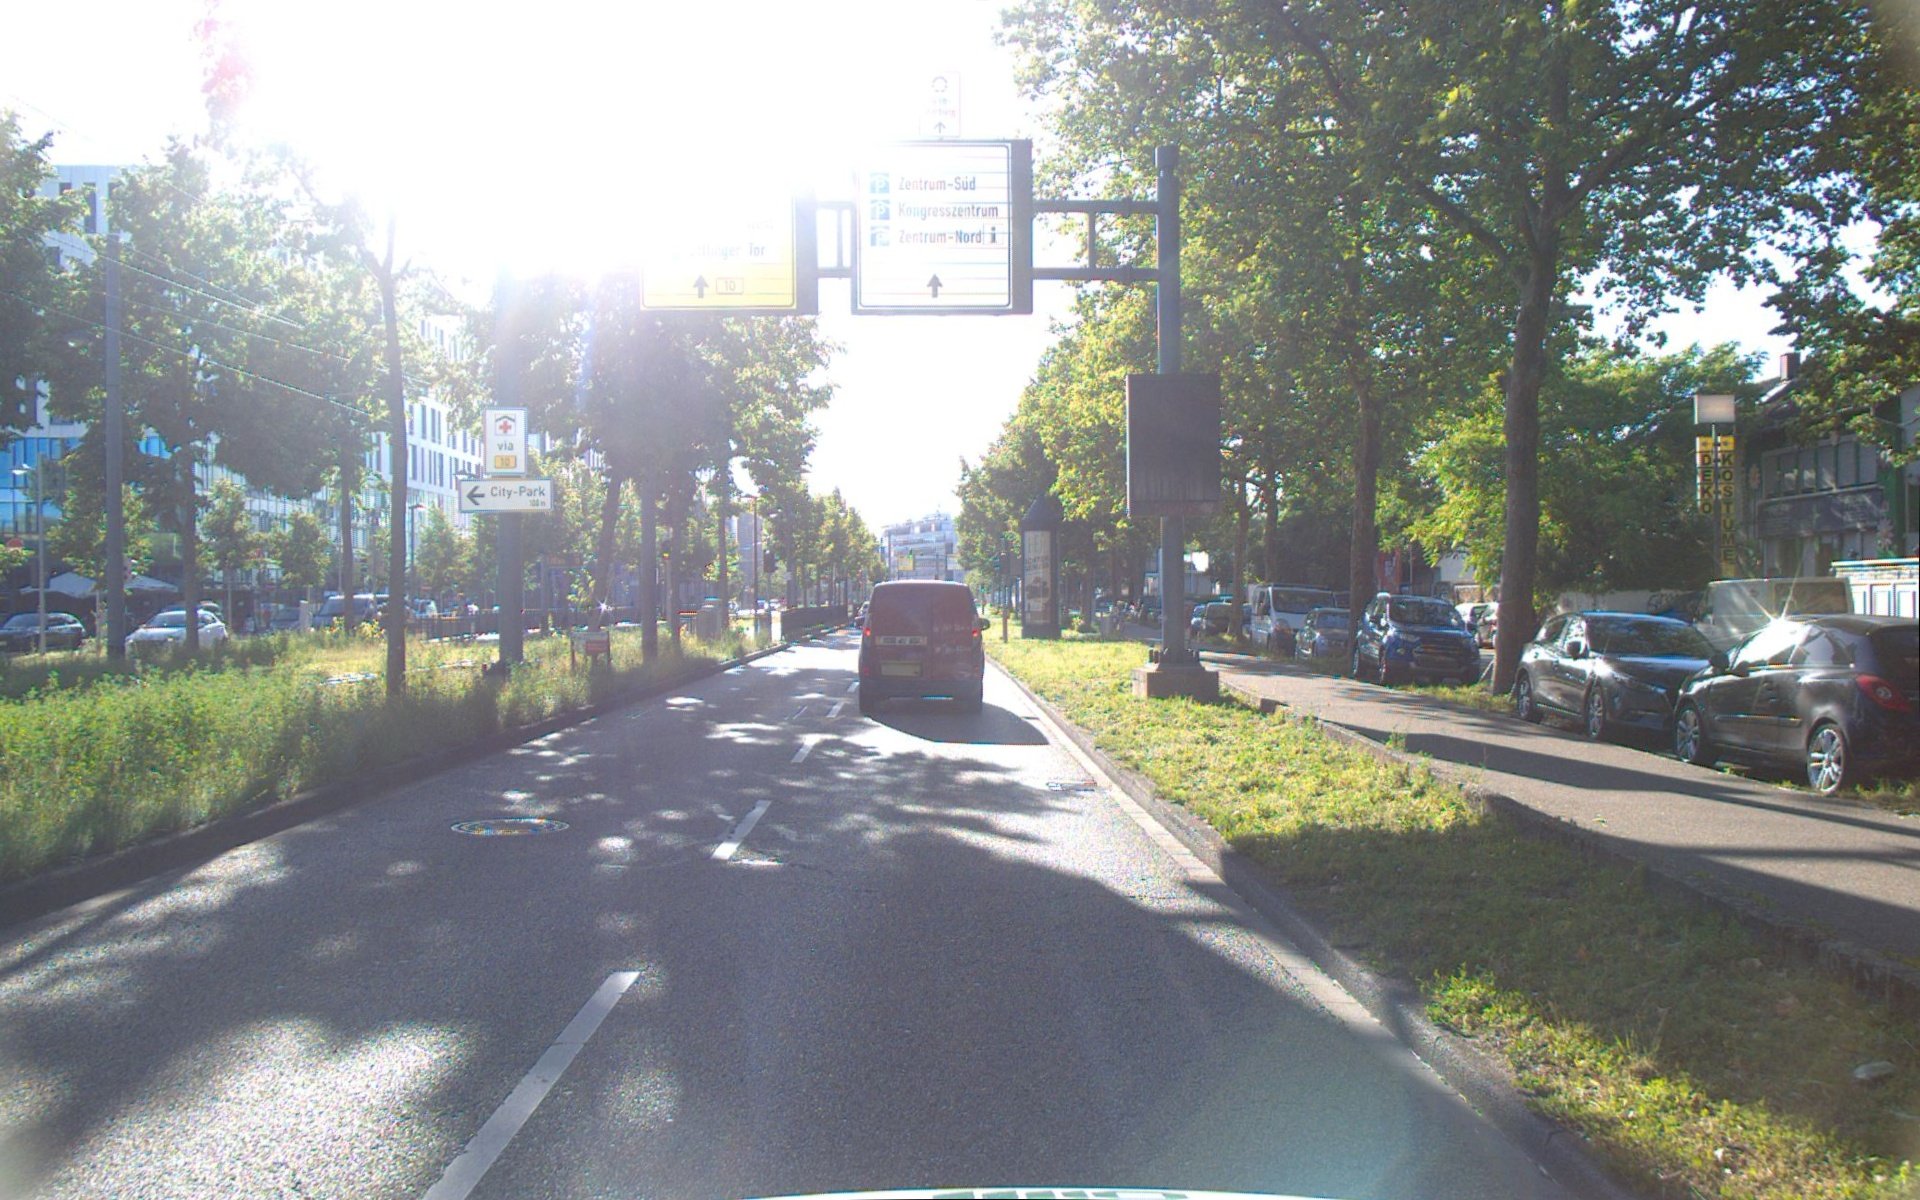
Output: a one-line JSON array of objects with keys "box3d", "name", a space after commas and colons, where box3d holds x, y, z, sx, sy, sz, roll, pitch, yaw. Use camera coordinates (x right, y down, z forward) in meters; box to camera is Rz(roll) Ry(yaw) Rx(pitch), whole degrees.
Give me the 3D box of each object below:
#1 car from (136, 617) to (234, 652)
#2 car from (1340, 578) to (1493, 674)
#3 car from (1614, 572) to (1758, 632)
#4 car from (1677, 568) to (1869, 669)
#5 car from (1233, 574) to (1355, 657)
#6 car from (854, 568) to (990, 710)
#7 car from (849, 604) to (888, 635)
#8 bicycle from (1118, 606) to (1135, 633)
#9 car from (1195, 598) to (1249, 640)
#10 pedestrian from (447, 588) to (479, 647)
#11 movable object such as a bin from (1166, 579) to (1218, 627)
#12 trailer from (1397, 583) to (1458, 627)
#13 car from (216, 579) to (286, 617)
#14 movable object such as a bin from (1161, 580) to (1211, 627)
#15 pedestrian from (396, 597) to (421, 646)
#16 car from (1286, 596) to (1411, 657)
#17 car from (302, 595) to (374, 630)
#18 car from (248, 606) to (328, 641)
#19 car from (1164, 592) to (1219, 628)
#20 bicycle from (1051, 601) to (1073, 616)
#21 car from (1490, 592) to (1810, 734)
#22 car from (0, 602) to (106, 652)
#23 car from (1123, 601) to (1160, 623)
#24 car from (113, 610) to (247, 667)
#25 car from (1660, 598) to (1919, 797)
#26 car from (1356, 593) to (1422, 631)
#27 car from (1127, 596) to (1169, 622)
[{"box3d": [-32.124, 1.398, 68.725, 1.873, 1.348, 4.610, 1, 0, 0], "name": "car"}, {"box3d": [8.553, 0.478, 31.339, 1.701, 1.671, 4.352, 1, -1, 0], "name": "car"}, {"box3d": [24.291, 0.081, 55.429, 4.000, 1.883, 1.849, 1, -1, -1], "name": "car"}, {"box3d": [17.660, 0.377, 36.223, 2.043, 2.049, 4.944, 0, 0, 4], "name": "car"}, {"box3d": [8.952, 0.420, 44.874, 2.145, 2.049, 5.819, 1, -1, 0], "name": "car"}, {"box3d": [-0.634, 0.536, 24.099, 1.773, 1.870, 3.997, 1, -1, -4], "name": "car"}, {"box3d": [-5.009, 1.074, 91.207, 1.953, 1.646, 3.999, 1, -1, -1], "name": "car"}, {"box3d": [6.689, 0.786, 66.373, 0.483, 1.065, 1.904, 1, -1, 1], "name": "bicycle"}, {"box3d": [9.837, 0.703, 62.317, 1.627, 1.527, 2.989, 1, -1, 2], "name": "car"}, {"box3d": [-16.188, 0.571, 53.877, 0.804, 1.868, 0.726, 1, -1, -4], "name": "pedestrian"}, {"box3d": [10.209, 0.134, 72.911, 2.038, 2.049, 2.137, 1, -1, 3], "name": "movable object such as a bin"}, {"box3d": [18.713, 0.219, 66.318, 1.694, 1.669, 3.024, -2, -1, 3], "name": "trailer"}, {"box3d": [-40.169, -0.094, 93.852, 1.953, 2.049, 4.563, 2, -1, 0], "name": "car"}, {"box3d": [10.329, 0.168, 75.676, 2.038, 2.049, 2.137, 1, -1, 3], "name": "movable object such as a bin"}, {"box3d": [-17.472, 0.686, 52.399, 0.538, 1.545, 0.589, 1, -1, 4], "name": "pedestrian"}, {"box3d": [8.975, 0.608, 38.544, 1.953, 1.312, 4.052, 1, -1, 0], "name": "car"}, {"box3d": [-32.180, 0.642, 85.694, 1.953, 1.701, 4.610, 1, -1, 0], "name": "car"}, {"box3d": [-32.314, 1.114, 79.646, 1.953, 1.636, 4.610, 1, -1, 0], "name": "car"}, {"box3d": [9.499, 0.430, 68.212, 1.957, 1.409, 4.747, 1, -1, 5], "name": "car"}, {"box3d": [8.711, 0.742, 141.291, 1.878, 1.290, 0.479, 0, 0, 0], "name": "bicycle"}, {"box3d": [7.953, 0.665, 19.600, 1.952, 1.405, 4.678, 2, 0, 2], "name": "car"}, {"box3d": [-31.965, 0.935, 57.760, 1.841, 1.649, 4.610, 1, -1, 0], "name": "car"}, {"box3d": [11.473, 0.762, 104.919, 1.833, 1.391, 3.999, 1, -1, -1], "name": "car"}, {"box3d": [-23.180, 1.116, 49.336, 1.952, 1.599, 4.167, 0, 0, 1], "name": "car"}, {"box3d": [7.661, 0.749, 14.110, 1.756, 1.463, 3.884, 1, -1, 1], "name": "car"}, {"box3d": [19.714, 0.553, 76.158, 1.953, 1.668, 4.000, 1, -1, 0], "name": "car"}, {"box3d": [11.021, 0.548, 97.295, 1.833, 1.459, 4.900, 1, 0, -1], "name": "car"}]
